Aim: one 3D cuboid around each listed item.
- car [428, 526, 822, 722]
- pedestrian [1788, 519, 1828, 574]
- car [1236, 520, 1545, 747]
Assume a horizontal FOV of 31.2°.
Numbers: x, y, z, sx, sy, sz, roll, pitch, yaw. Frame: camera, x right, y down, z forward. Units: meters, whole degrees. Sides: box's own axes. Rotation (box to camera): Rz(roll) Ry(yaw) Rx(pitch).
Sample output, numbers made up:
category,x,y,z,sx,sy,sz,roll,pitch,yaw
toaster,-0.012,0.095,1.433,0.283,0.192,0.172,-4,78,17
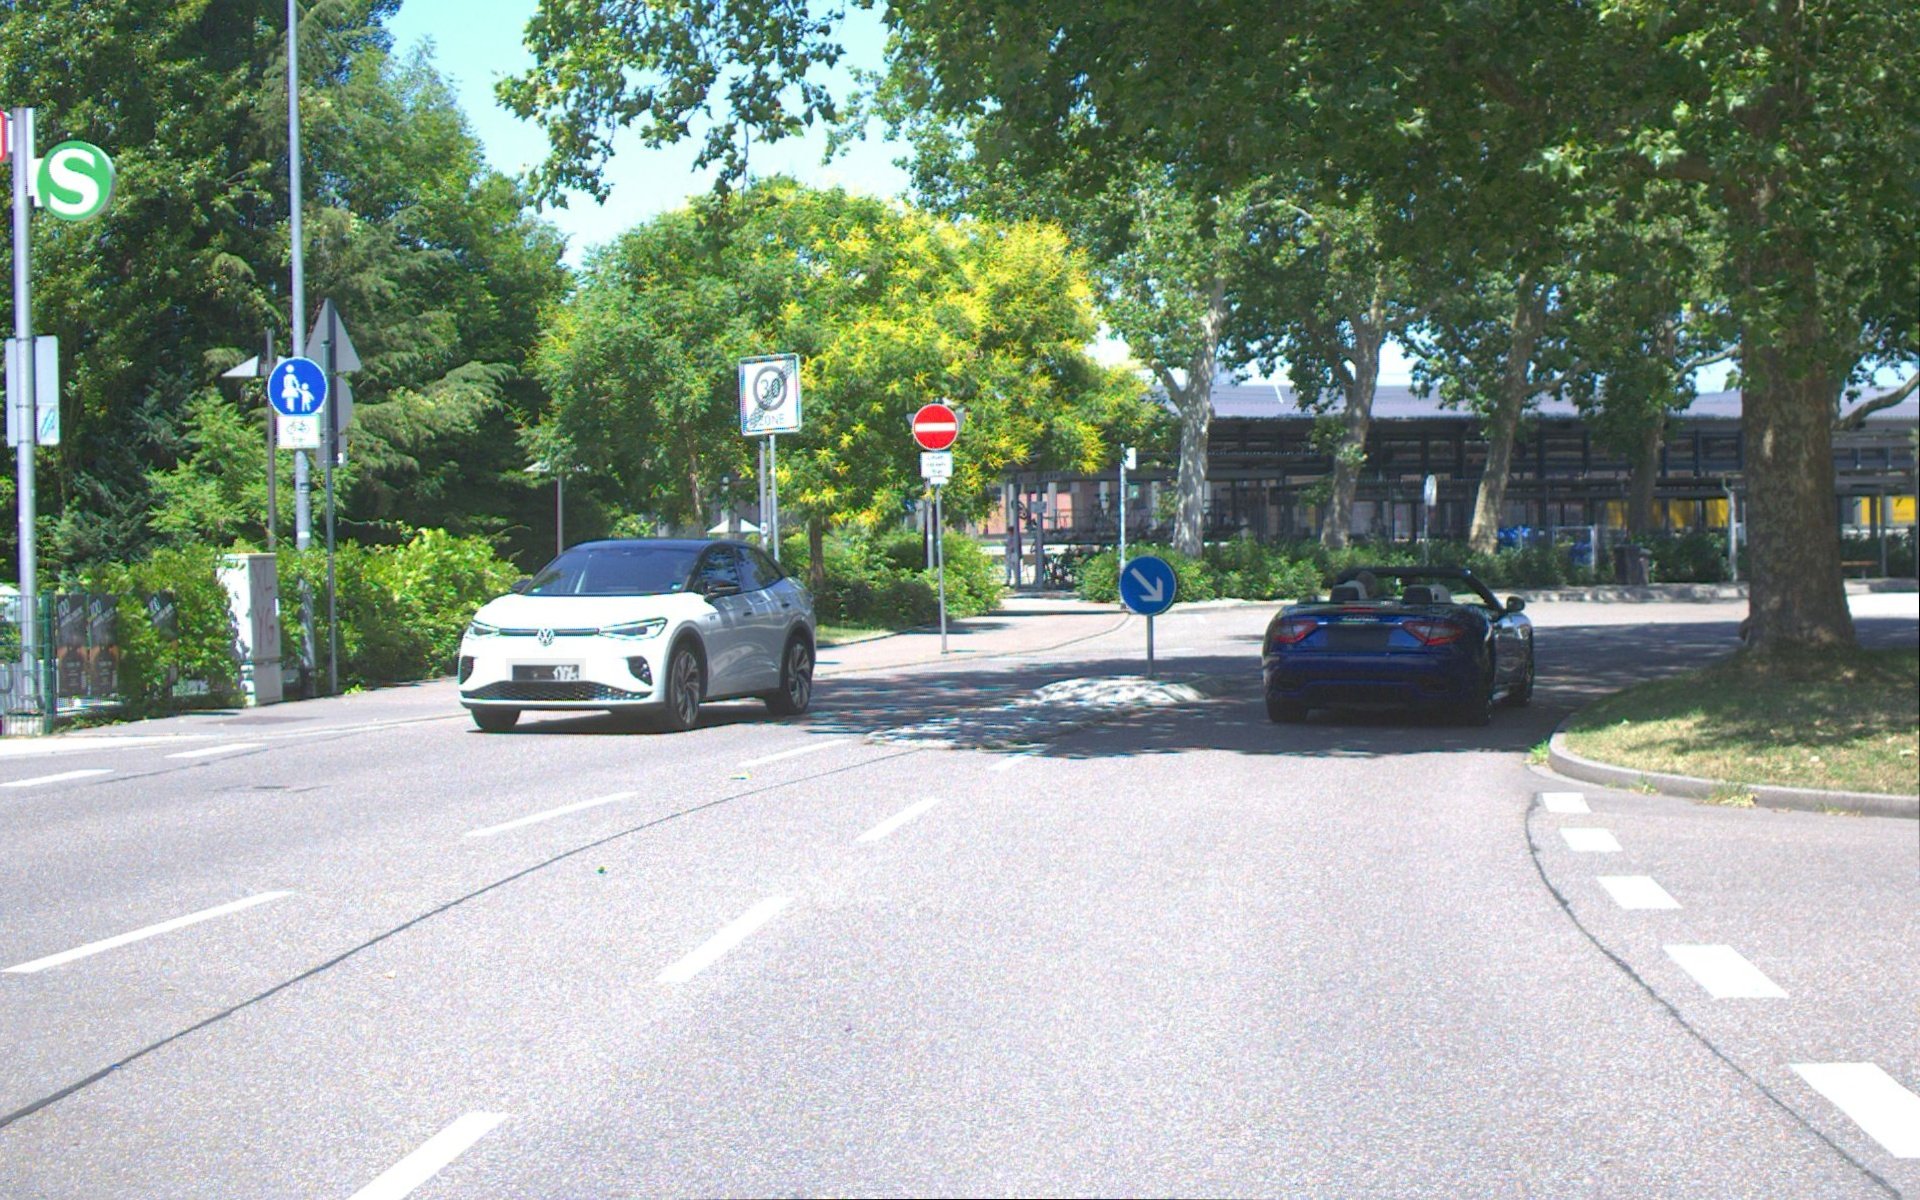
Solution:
category,x,y,z,sx,sy,sz,roll,pitch,yaw
car,-2.773,0.144,29.510,1.846,1.525,4.335,0,1,17
pedestrian,22.802,-1.442,92.433,0.819,1.458,0.607,-1,1,-27
car,3.861,0.225,30.246,2.126,1.842,4.045,0,1,16
